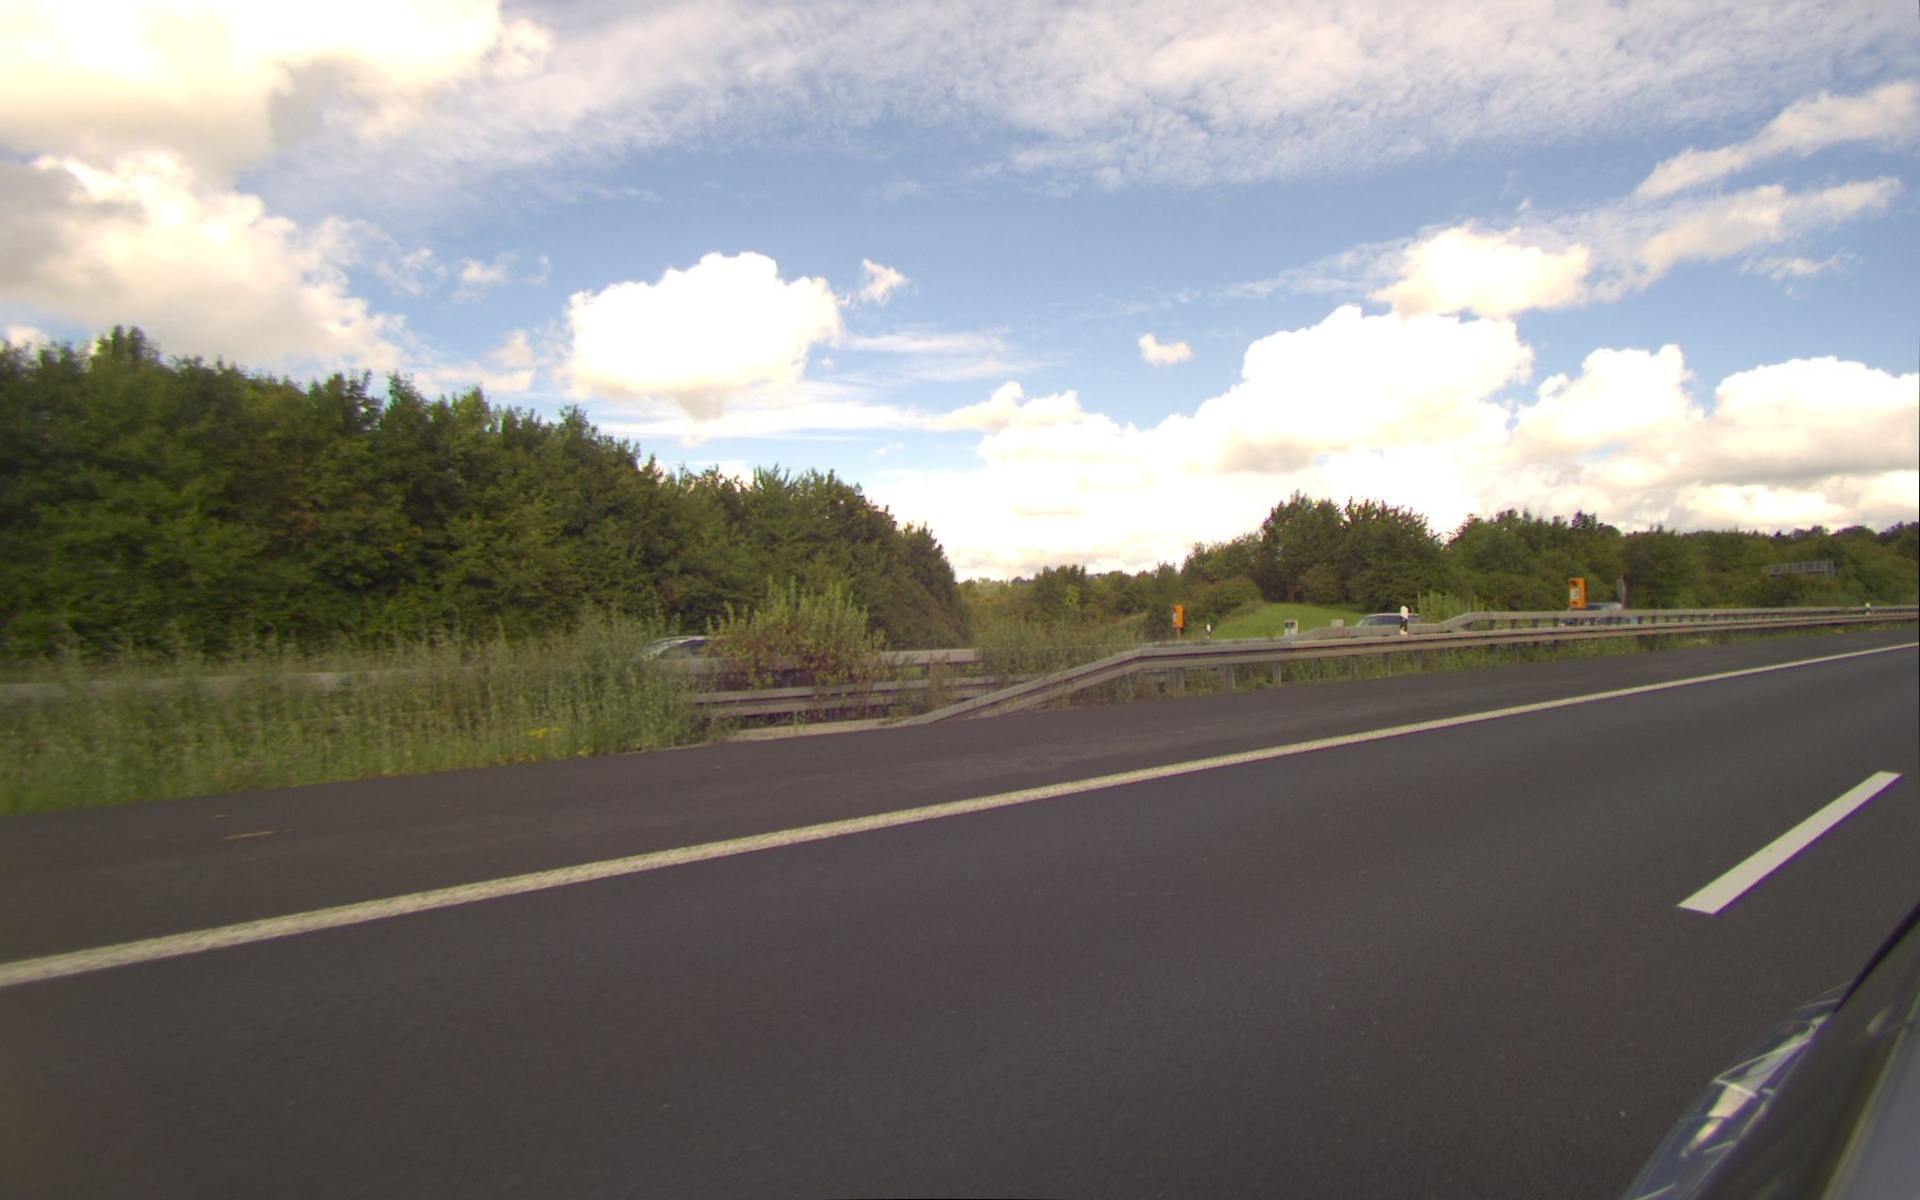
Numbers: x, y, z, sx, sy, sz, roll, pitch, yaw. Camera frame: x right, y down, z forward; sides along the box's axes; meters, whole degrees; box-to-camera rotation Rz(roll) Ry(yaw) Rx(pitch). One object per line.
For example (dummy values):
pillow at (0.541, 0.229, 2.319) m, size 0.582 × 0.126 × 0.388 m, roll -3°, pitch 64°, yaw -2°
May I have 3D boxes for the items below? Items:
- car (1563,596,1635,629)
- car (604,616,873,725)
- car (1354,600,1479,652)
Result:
car at (32.978, 0.618, 52.192) m, size 4.265 × 1.591 × 1.788 m, roll 0°, pitch 0°, yaw -38°
car at (-3.793, 1.127, 17.686) m, size 4.265 × 1.591 × 1.788 m, roll 0°, pitch 0°, yaw -38°
car at (14.983, 0.794, 33.114) m, size 4.591 × 1.538 × 1.788 m, roll -1°, pitch 0°, yaw -38°
